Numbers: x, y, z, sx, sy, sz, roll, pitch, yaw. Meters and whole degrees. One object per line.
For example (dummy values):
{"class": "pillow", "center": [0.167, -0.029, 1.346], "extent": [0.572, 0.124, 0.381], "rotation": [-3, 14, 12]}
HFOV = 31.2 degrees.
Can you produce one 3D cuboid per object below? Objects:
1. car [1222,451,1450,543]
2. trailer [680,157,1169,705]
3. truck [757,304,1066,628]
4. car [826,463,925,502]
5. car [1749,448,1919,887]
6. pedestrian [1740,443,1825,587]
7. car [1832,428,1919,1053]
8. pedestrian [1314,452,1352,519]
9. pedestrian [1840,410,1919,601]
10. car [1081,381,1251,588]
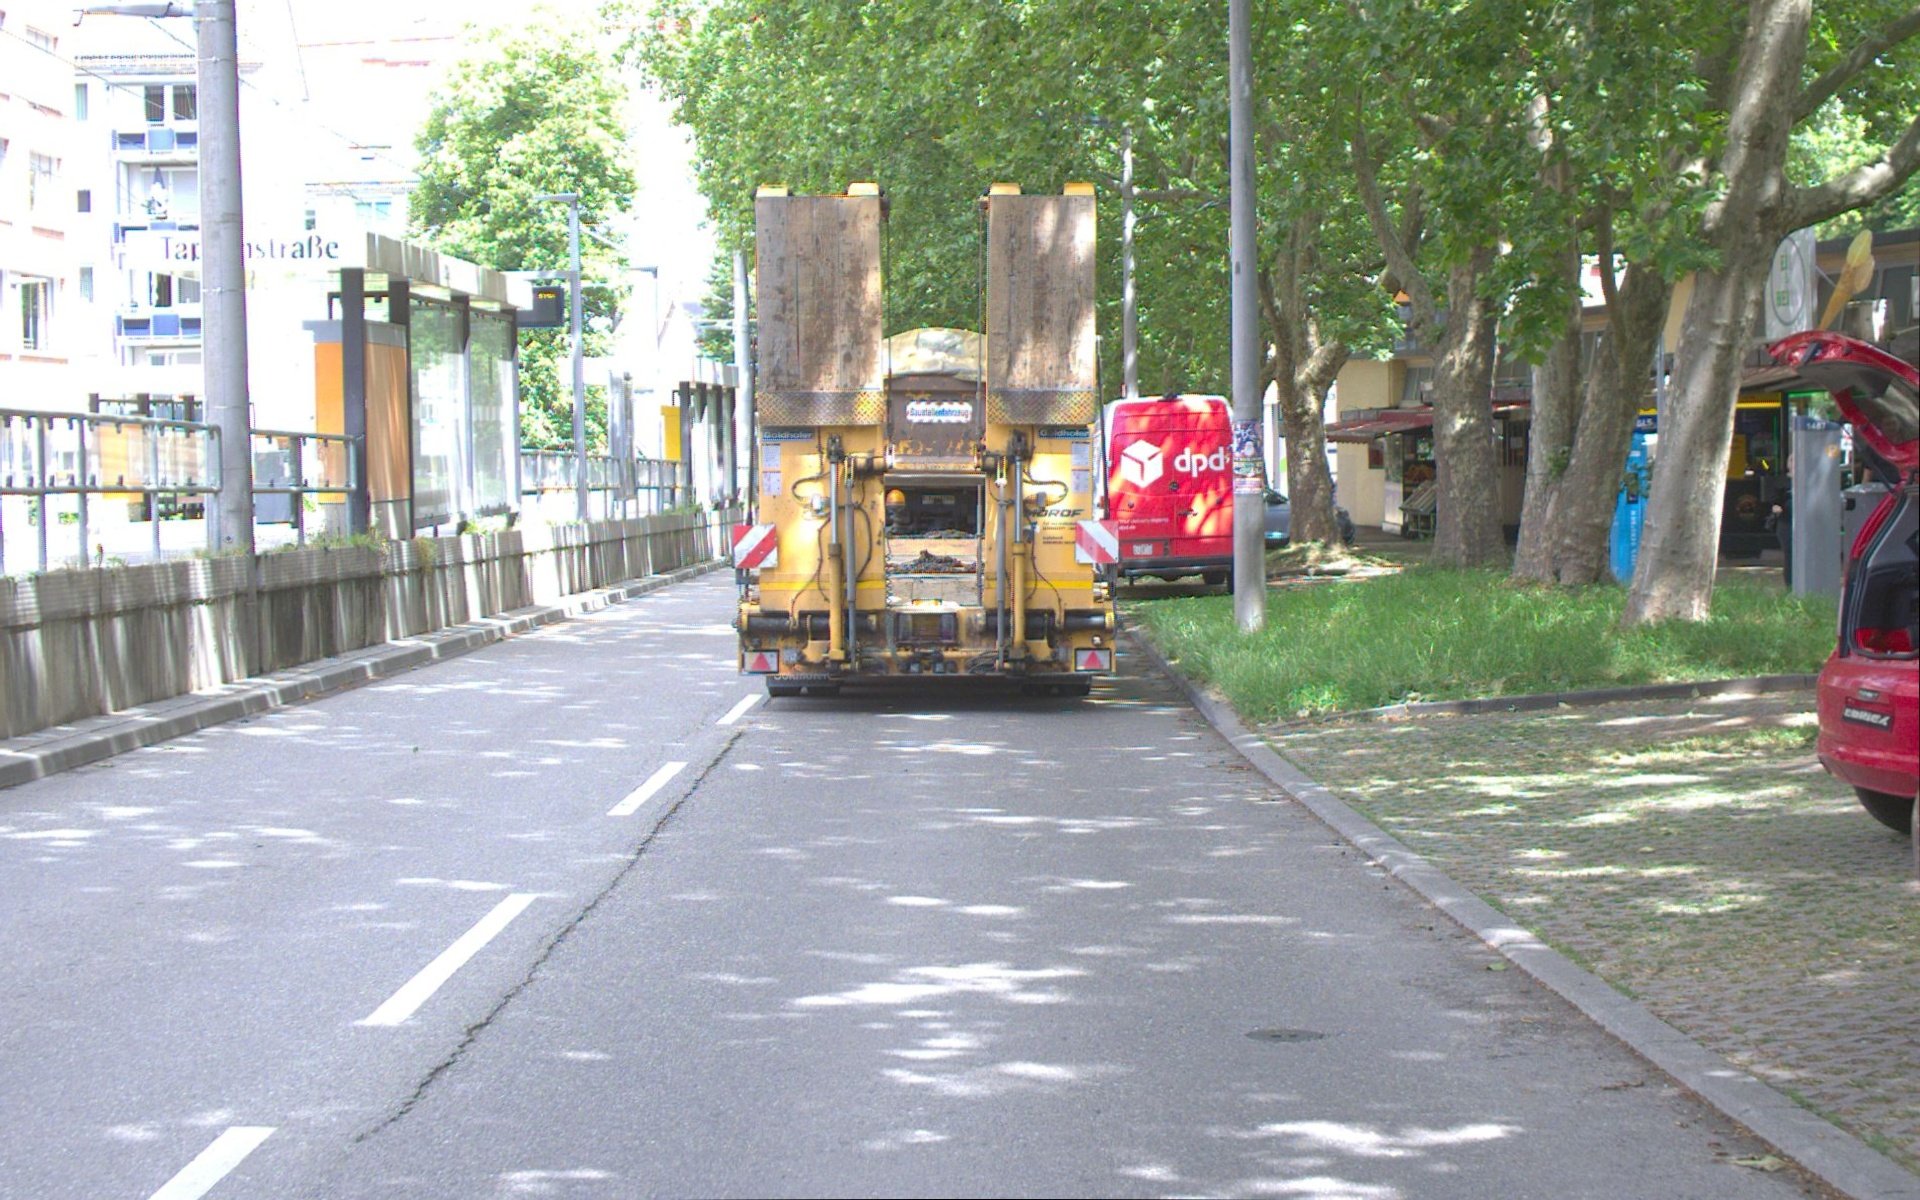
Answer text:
{"class": "car", "center": [6.838, -1.884, 62.679], "extent": [3.828, 1.556, 1.620], "rotation": [-2, 2, -6]}
{"class": "trailer", "center": [-0.350, -1.286, 28.013], "extent": [3.154, 3.540, 11.098], "rotation": [1, 2, -1]}
{"class": "truck", "center": [-0.602, -1.442, 37.533], "extent": [2.989, 3.124, 7.889], "rotation": [1, 2, -2]}
{"class": "car", "center": [-4.580, -6.387, 186.931], "extent": [5.088, 2.095, 1.977], "rotation": [0, 2, -13]}
{"class": "car", "center": [4.891, 0.119, 12.834], "extent": [3.406, 1.509, 1.610], "rotation": [-3, 2, -3]}
{"class": "pedestrian", "center": [8.381, -0.874, 35.052], "extent": [0.625, 1.442, 1.029], "rotation": [0, 2, 0]}
{"class": "car", "center": [4.425, 0.250, 8.553], "extent": [4.030, 1.606, 1.731], "rotation": [-4, 2, 3]}
{"class": "pedestrian", "center": [7.807, -2.398, 71.946], "extent": [0.694, 1.387, 0.513], "rotation": [-1, 2, -3]}
{"class": "pedestrian", "center": [9.422, -0.958, 34.749], "extent": [0.743, 1.877, 0.941], "rotation": [-2, 1, 0]}
{"class": "car", "center": [2.740, -1.581, 47.108], "extent": [1.904, 2.572, 6.834], "rotation": [-2, 2, 1]}
